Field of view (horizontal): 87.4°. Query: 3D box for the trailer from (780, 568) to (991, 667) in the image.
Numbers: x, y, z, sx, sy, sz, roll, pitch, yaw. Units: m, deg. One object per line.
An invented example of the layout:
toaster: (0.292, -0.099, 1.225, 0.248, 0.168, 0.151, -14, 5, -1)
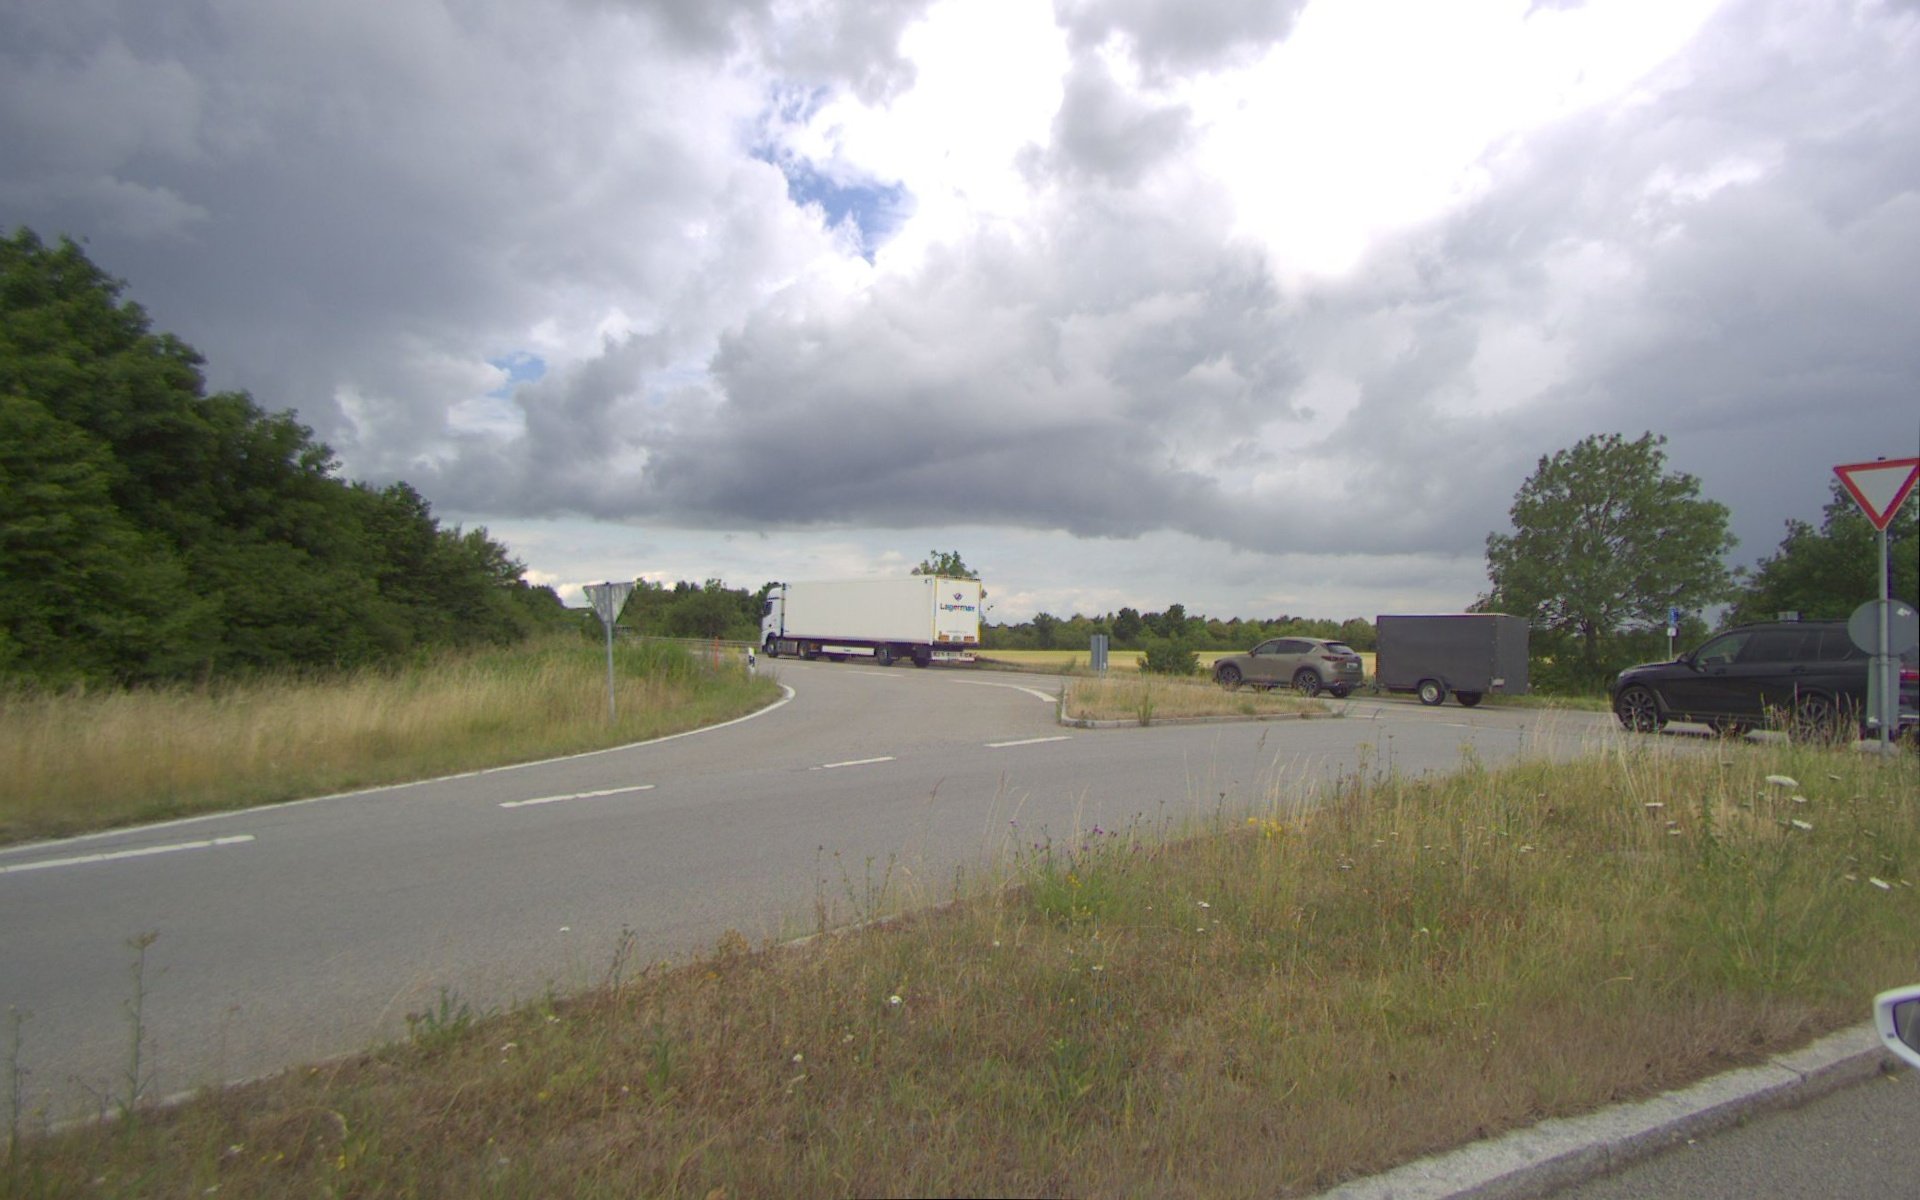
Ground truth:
trailer: (-4.050, 0.921, 48.427, 3.101, 4.066, 13.741, 4, -3, -37)

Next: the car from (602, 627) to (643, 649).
car: (-26.629, 3.012, 79.207, 1.980, 1.622, 4.184, 1, -3, -35)

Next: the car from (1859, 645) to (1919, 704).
car: (35.071, 2.637, 35.488, 2.295, 2.040, 4.917, 0, -2, 2)

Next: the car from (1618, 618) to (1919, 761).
car: (12.521, 1.230, 15.048, 1.963, 1.798, 4.640, 2, -2, -6)

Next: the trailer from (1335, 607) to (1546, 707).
trailer: (12.289, 1.450, 25.888, 2.397, 2.322, 4.348, 4, -4, -39)

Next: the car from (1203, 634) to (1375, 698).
car: (9.519, 1.879, 29.372, 1.984, 1.704, 4.428, 4, -4, -39)

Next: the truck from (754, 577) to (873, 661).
truck: (-7.936, 1.063, 53.591, 3.101, 4.066, 7.230, 4, -3, -37)
